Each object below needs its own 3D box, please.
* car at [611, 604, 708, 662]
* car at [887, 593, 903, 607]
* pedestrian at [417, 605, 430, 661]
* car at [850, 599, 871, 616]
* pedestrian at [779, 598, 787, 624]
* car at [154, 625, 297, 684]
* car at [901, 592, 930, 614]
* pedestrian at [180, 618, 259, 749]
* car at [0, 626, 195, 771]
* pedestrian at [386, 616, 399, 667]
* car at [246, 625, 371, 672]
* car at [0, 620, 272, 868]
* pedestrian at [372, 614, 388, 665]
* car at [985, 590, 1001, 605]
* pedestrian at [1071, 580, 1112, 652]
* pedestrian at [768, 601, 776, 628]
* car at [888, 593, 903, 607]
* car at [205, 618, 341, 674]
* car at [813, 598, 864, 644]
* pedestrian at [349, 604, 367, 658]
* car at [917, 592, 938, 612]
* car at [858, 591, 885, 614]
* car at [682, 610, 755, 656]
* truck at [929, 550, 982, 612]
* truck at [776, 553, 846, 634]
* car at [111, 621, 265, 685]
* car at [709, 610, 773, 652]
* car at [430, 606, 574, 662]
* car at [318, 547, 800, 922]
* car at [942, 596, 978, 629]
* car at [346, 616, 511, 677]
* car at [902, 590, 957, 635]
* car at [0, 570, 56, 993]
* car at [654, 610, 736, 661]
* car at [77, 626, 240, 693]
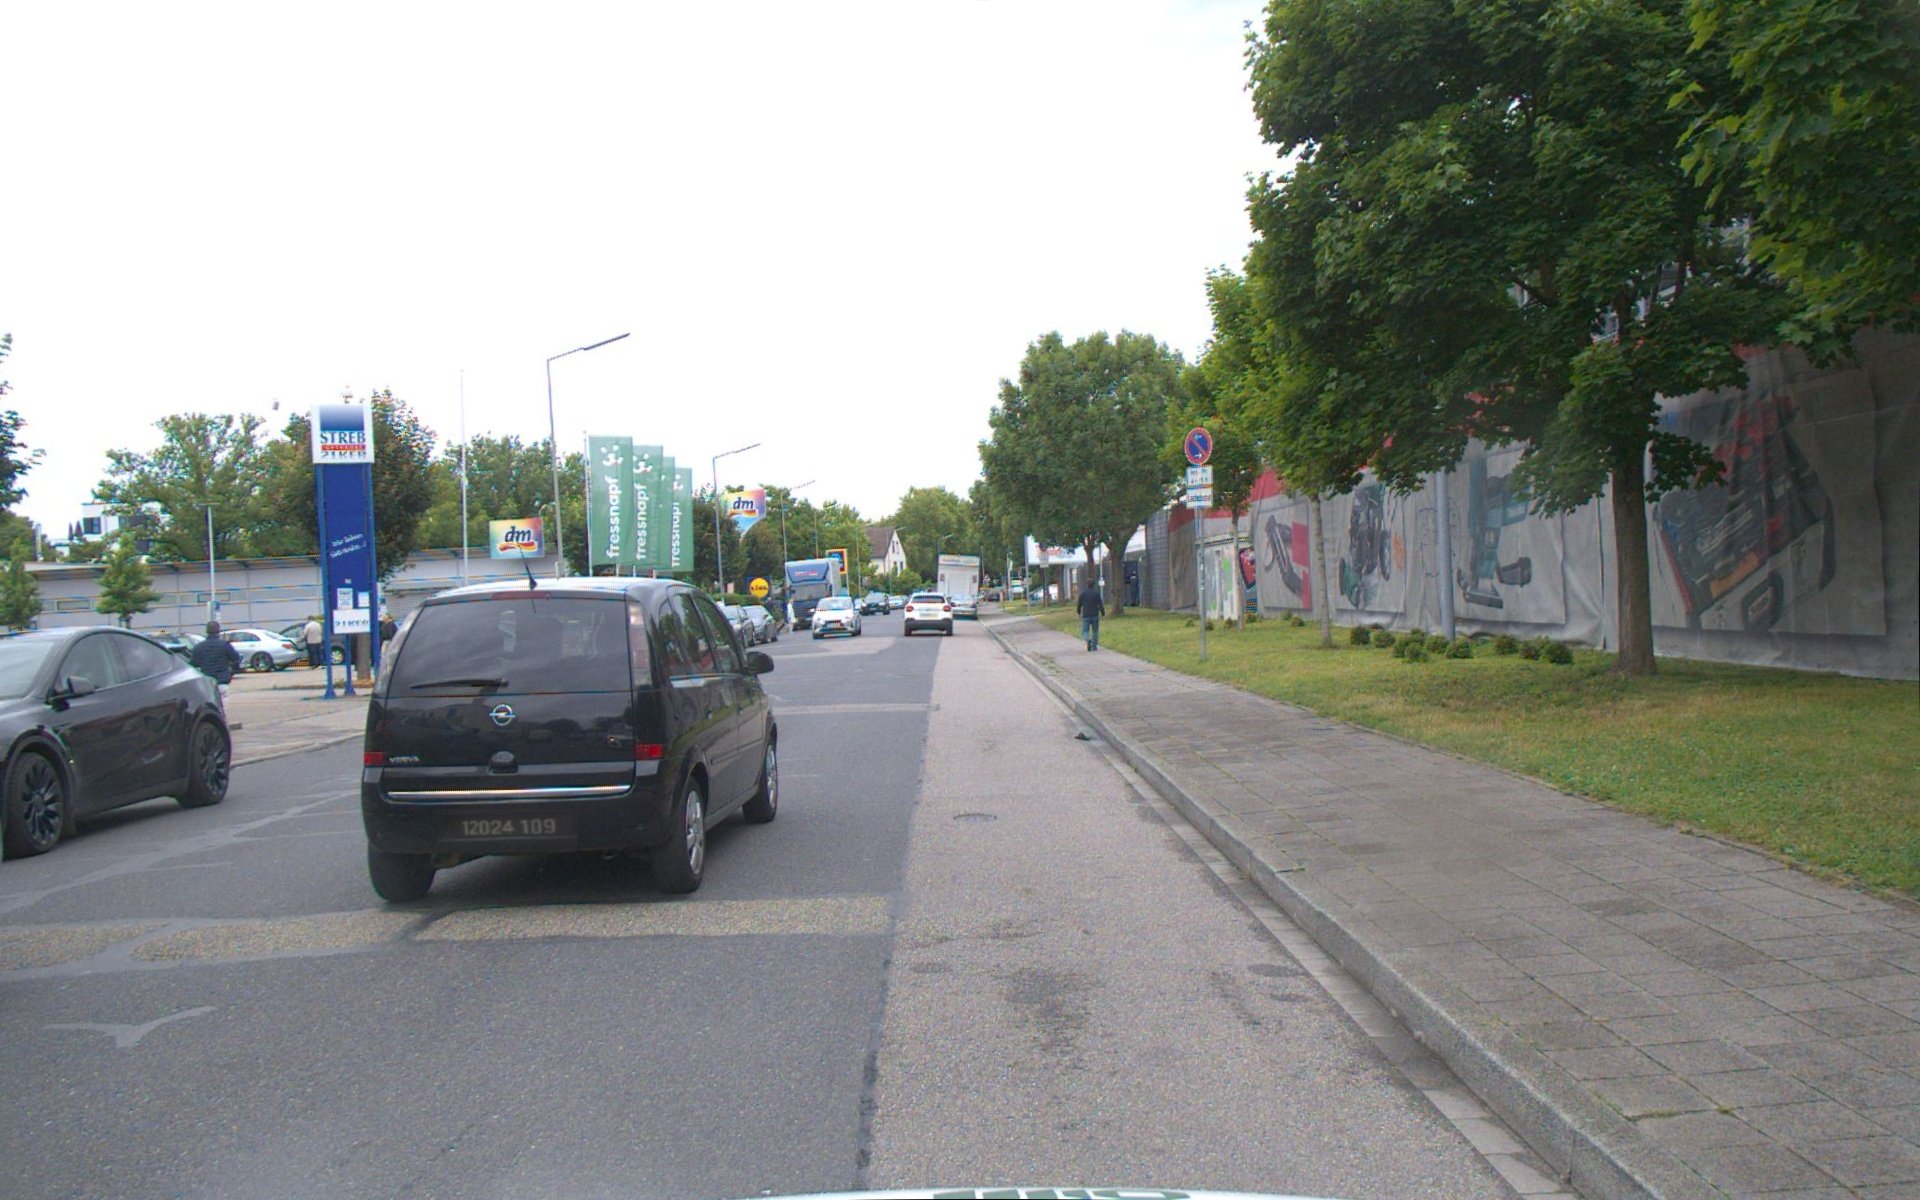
[{"bbox_3d":[-8.086,0.848,44.869,1.859,1.391,4.000,-3,0,0],"label":"car"},{"bbox_3d":[-6.806,-0.024,173.493,1.510,1.389,3.428,-2,0,0],"label":"car"},{"bbox_3d":[-17.241,1.052,53.126,0.258,1.760,0.421,-3,0,-13],"label":"pedestrian"},{"bbox_3d":[-8.429,0.622,139.895,1.590,1.399,3.451,-2,0,-1],"label":"car"},{"bbox_3d":[-10.772,0.662,100.635,0.394,1.558,0.485,-3,0,-6],"label":"pedestrian"},{"bbox_3d":[-24.794,1.813,55.957,3.906,1.698,1.876,-3,0,0],"label":"car"},{"bbox_3d":[-3.134,0.208,116.247,1.898,1.390,3.999,-4,0,-1],"label":"car"},{"bbox_3d":[-10.287,1.143,22.995,0.760,1.745,0.696,-2,0,-5],"label":"pedestrian"},{"bbox_3d":[-14.482,1.566,26.160,3.856,2.048,1.758,-3,0,-8],"label":"car"},{"bbox_3d":[-18.056,1.329,52.625,0.324,1.597,0.502,-2,0,-14],"label":"pedestrian"},{"bbox_3d":[-24.521,1.811,62.324,3.905,1.518,1.786,-3,0,0],"label":"car"},{"bbox_3d":[-7.300,1.087,12.919,1.908,1.552,4.401,-7,0,-1],"label":"car"},{"bbox_3d":[-18.570,1.268,52.965,0.353,1.597,0.502,-3,0,-14],"label":"pedestrian"},{"bbox_3d":[4.004,-0.277,200.231,1.848,1.713,4.254,-1,0,0],"label":"car"},{"bbox_3d":[3.089,0.372,38.913,0.900,1.663,0.853,-2,-1,1],"label":"pedestrian"},{"bbox_3d":[-11.194,0.858,98.284,0.394,1.558,0.485,-3,0,-7],"label":"pedestrian"},{"bbox_3d":[-6.988,0.019,179.742,1.518,1.388,3.498,-2,0,-1],"label":"car"},{"bbox_3d":[-24.172,1.595,58.286,3.906,1.698,1.876,-3,0,0],"label":"car"},{"bbox_3d":[-4.560,0.787,62.419,1.566,1.554,3.528,-4,0,0],"label":"car"},{"bbox_3d":[-19.183,0.987,52.720,0.448,1.670,0.372,-3,0,-18],"label":"pedestrian"},{"bbox_3d":[-2.960,0.151,150.921,1.832,1.691,3.998,-3,0,-2],"label":"car"},{"bbox_3d":[-6.773,0.207,127.199,1.953,1.713,3.999,-2,0,-2],"label":"car"},{"bbox_3d":[-8.312,1.121,57.223,1.859,1.391,4.000,-3,0,0],"label":"car"},{"bbox_3d":[-0.382,-1.110,105.282,3.072,3.647,10.047,-2,0,-2],"label":"truck"},{"bbox_3d":[-8.110,-0.370,90.709,2.913,4.024,6.404,-4,0,0],"label":"truck"},{"bbox_3d":[-24.368,1.657,52.307,3.906,1.698,1.876,-3,0,0],"label":"car"},{"bbox_3d":[-8.322,1.157,63.123,1.859,1.391,4.000,-3,0,0],"label":"car"},{"bbox_3d":[-14.459,1.063,52.395,4.056,1.488,1.896,-3,0,-6],"label":"car"},{"bbox_3d":[-2.054,0.616,9.586,1.646,1.660,3.760,-3,0,3],"label":"car"},{"bbox_3d":[0.001,0.743,96.106,1.953,1.837,3.999,-2,0,-2],"label":"car"},{"bbox_3d":[-15.098,1.305,47.190,4.125,1.488,1.949,-3,0,-8],"label":"car"},{"bbox_3d":[-1.076,0.424,60.164,1.848,1.558,4.254,-1,0,0],"label":"car"},{"bbox_3d":[-4.870,0.810,4.834,1.894,1.713,4.495,-4,0,0],"label":"car"},{"bbox_3d":[-8.244,1.087,51.731,1.859,1.391,4.000,-3,0,0],"label":"car"},{"bbox_3d":[-24.049,1.767,49.732,3.906,1.698,1.876,-3,0,0],"label":"car"}]
